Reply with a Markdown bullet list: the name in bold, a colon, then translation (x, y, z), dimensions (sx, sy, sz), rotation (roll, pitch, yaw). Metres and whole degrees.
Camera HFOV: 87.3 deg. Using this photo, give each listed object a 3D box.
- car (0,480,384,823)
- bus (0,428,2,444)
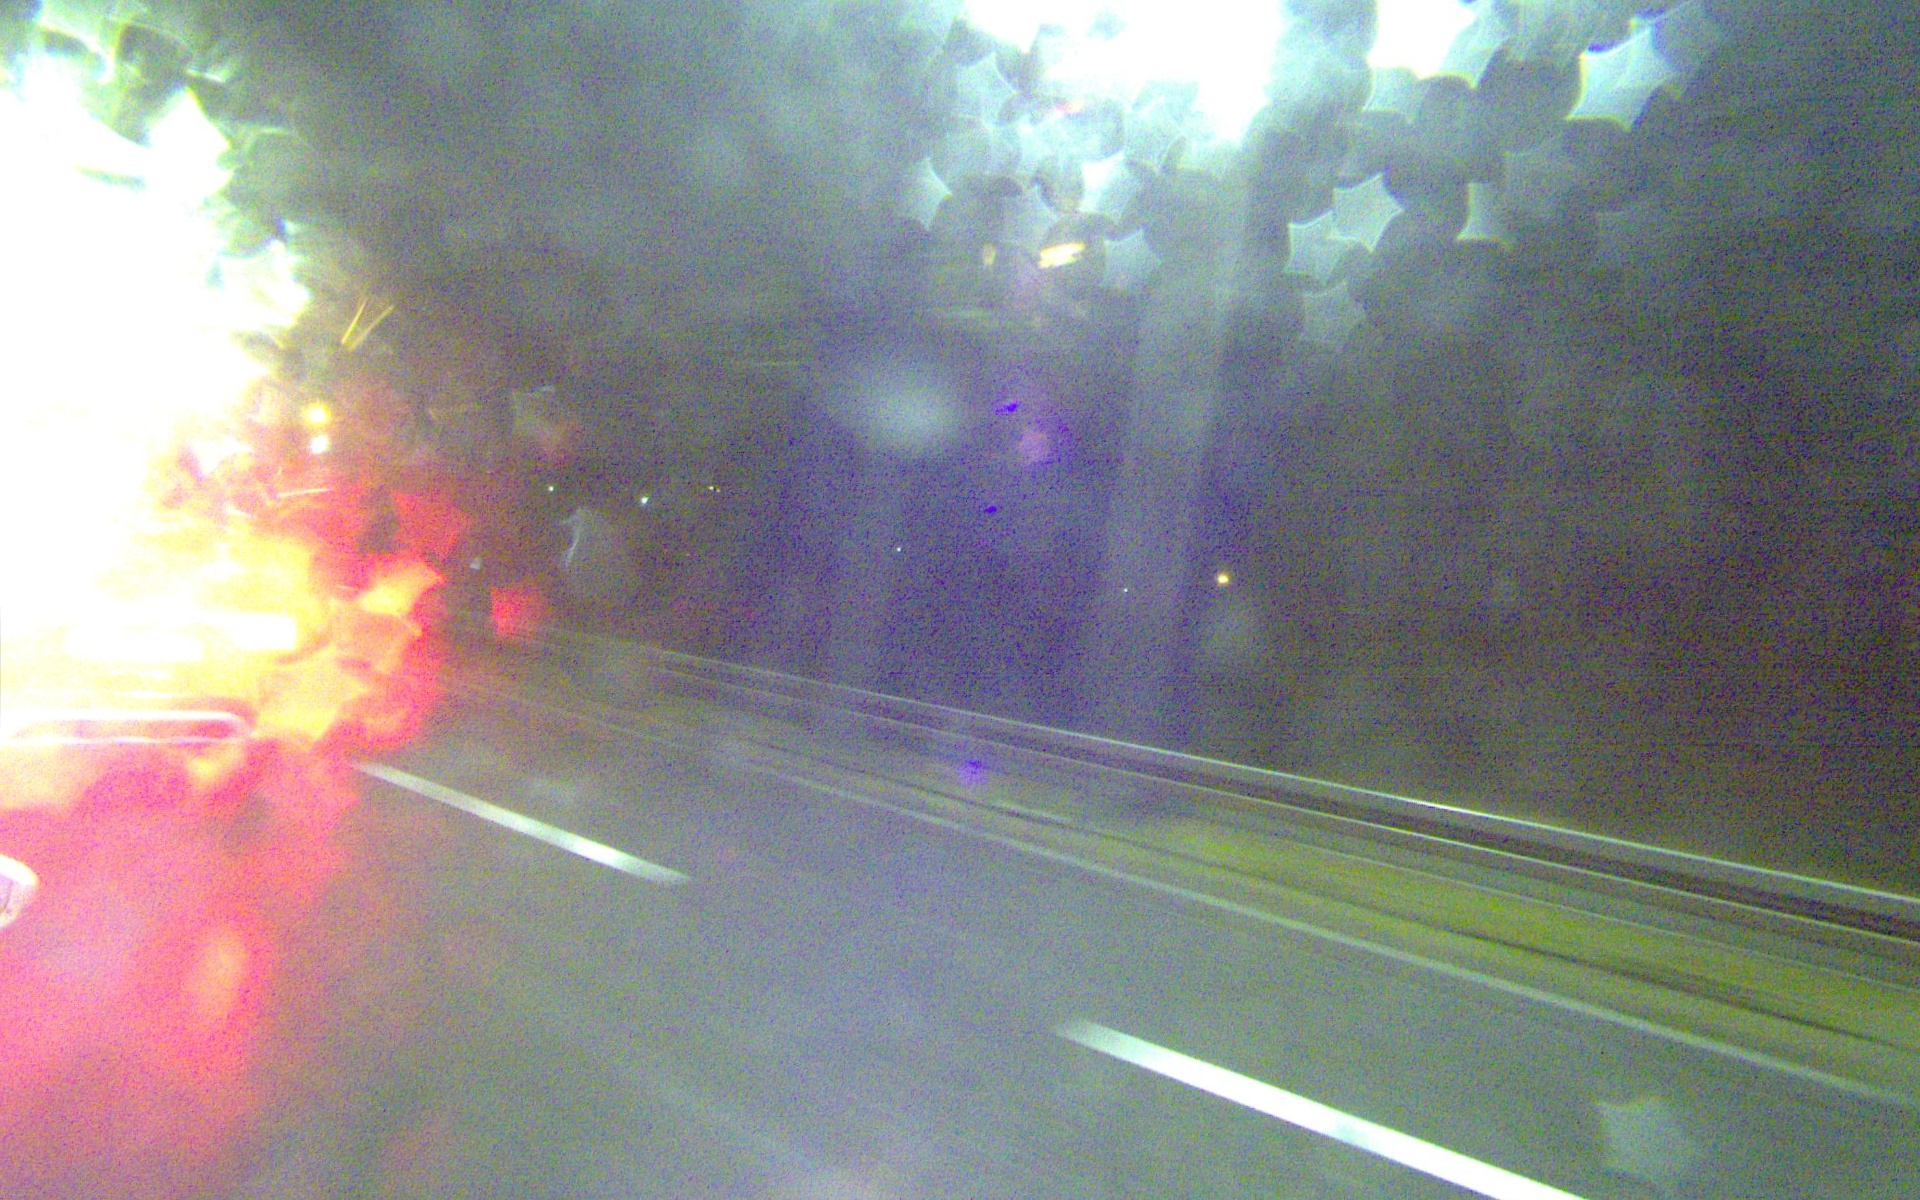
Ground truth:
- **car**: translation (-5.604, 0.127, 6.139), dimensions (3.937, 1.541, 1.996), rotation (7, -2, 35)
- **bus**: translation (-27.364, -3.031, 25.701), dimensions (8.922, 3.249, 3.043), rotation (6, -3, 41)
